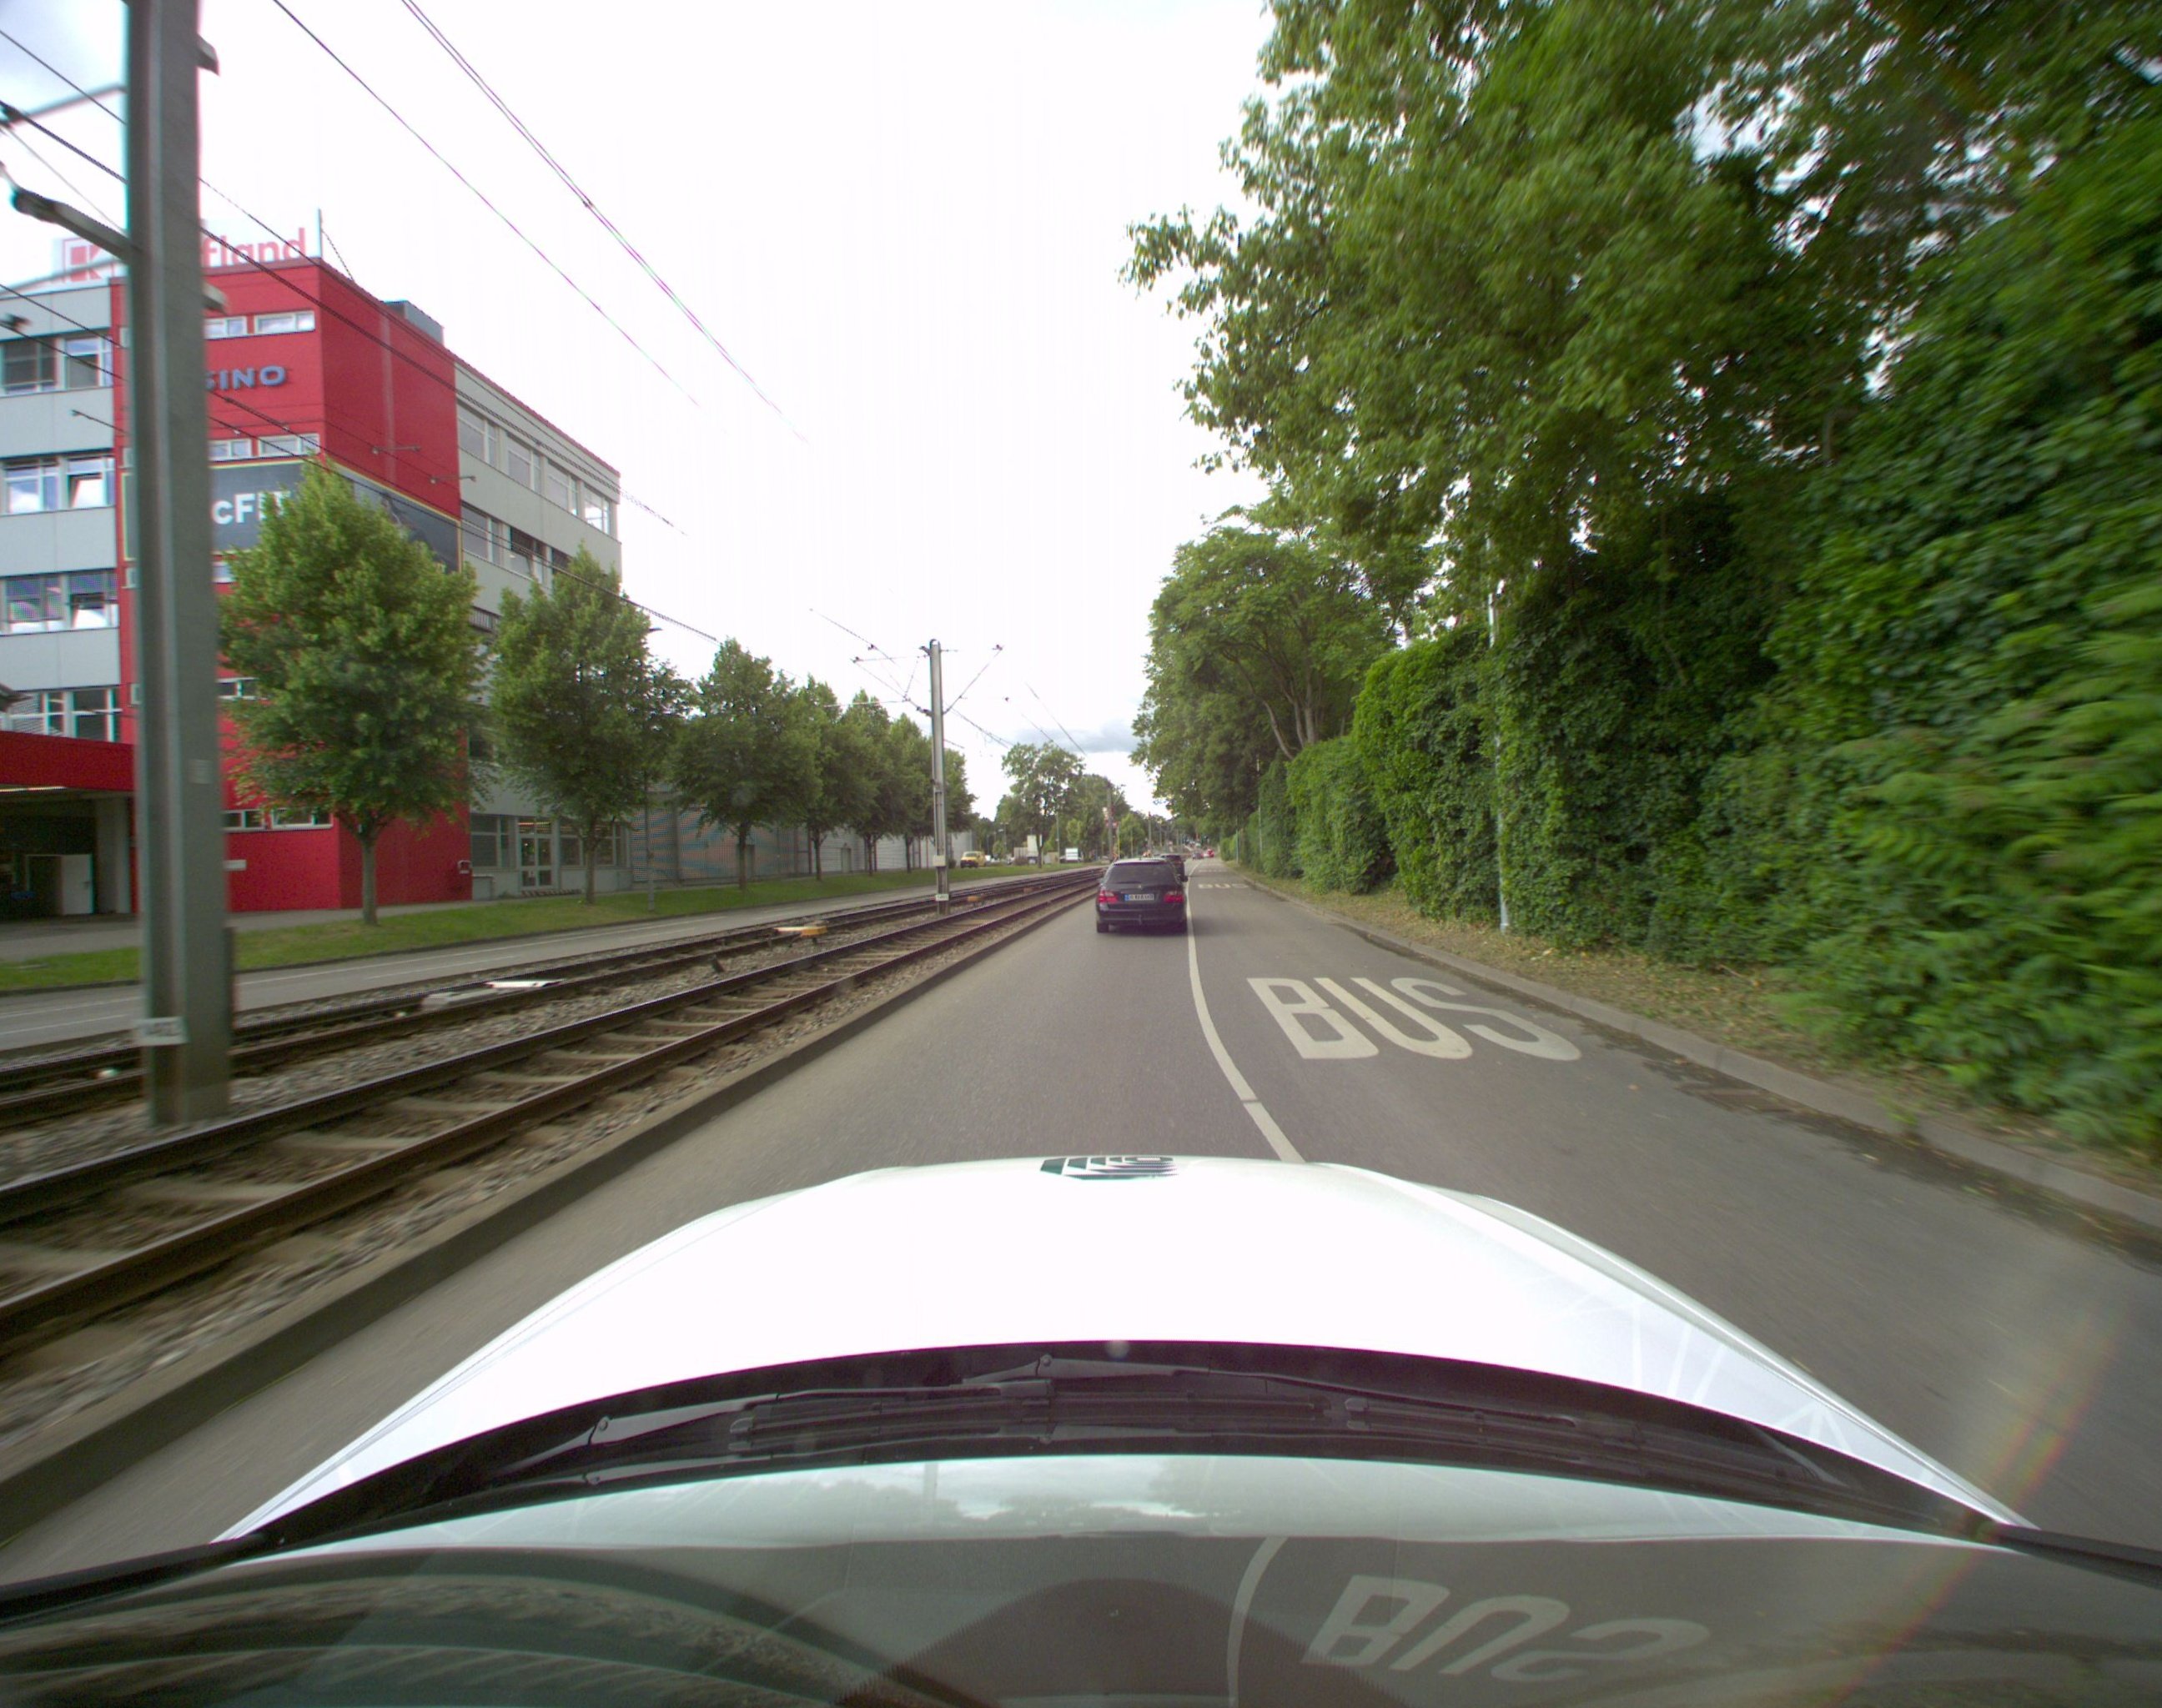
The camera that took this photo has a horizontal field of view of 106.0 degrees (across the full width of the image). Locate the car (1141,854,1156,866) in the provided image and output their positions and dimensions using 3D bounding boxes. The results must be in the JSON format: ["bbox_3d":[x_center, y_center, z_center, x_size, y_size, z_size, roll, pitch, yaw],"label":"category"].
[{"bbox_3d":[9.140,0.826,109.963,1.816,1.530,3.993,-1,0,6],"label":"car"}]

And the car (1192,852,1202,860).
[{"bbox_3d":[22.789,0.423,160.510,1.816,1.530,4.424,-1,0,6],"label":"car"}]

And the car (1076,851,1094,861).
[{"bbox_3d":[0.919,0.435,173.926,3.684,1.816,1.793,-2,0,-3],"label":"car"}]

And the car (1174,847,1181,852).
[{"bbox_3d":[28.130,-1.315,237.309,1.832,1.644,3.892,-2,0,6],"label":"car"}]

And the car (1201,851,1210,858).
[{"bbox_3d":[30.391,0.113,198.664,1.816,1.530,4.187,-1,0,6],"label":"car"}]

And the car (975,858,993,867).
[{"bbox_3d":[-23.510,2.067,197.229,3.971,1.680,2.001,-4,-1,3],"label":"car"}]

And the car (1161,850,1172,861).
[{"bbox_3d":[16.252,0.260,154.542,1.883,2.013,3.903,-4,-1,5],"label":"car"}]

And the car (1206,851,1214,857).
[{"bbox_3d":[32.831,0.069,207.217,1.816,1.530,4.187,-1,0,6],"label":"car"}]

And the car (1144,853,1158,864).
[{"bbox_3d":[9.890,0.650,115.088,1.816,1.530,3.993,-1,0,6],"label":"car"}]

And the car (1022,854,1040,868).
[{"bbox_3d":[-7.402,1.063,121.595,1.984,2.013,4.005,-4,-1,4],"label":"car"}]

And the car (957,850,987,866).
[{"bbox_3d":[-12.328,0.435,92.701,1.982,1.743,5.000,-2,0,9],"label":"car"}]

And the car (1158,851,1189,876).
[{"bbox_3d":[6.020,0.585,53.548,1.817,1.530,4.421,-1,0,4],"label":"car"}]

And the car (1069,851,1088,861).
[{"bbox_3d":[-0.546,0.454,162.382,3.684,1.816,1.793,-2,0,-3],"label":"car"}]

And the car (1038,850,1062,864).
[{"bbox_3d":[-5.412,0.533,142.166,3.974,2.123,2.000,-4,-1,0],"label":"car"}]

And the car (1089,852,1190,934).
[{"bbox_3d":[1.293,0.732,17.186,1.824,1.478,4.422,-1,0,6],"label":"car"}]

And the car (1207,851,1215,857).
[{"bbox_3d":[35.046,-0.076,219.697,1.816,1.530,4.187,-1,0,6],"label":"car"}]

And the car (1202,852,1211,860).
[{"bbox_3d":[26.090,0.369,169.499,1.816,1.530,4.187,-1,0,6],"label":"car"}]

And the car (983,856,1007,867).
[{"bbox_3d":[-15.565,1.419,147.362,3.988,1.680,1.993,-4,-1,-10],"label":"car"}]

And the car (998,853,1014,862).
[{"bbox_3d":[-21.072,1.004,227.723,3.964,2.013,2.005,-4,-1,8],"label":"car"}]

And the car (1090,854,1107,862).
[{"bbox_3d":[4.286,0.983,196.959,3.965,1.644,2.004,-2,0,7],"label":"car"}]

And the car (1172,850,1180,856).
[{"bbox_3d":[22.307,-0.244,191.870,1.816,1.530,4.187,-1,0,6],"label":"car"}]
